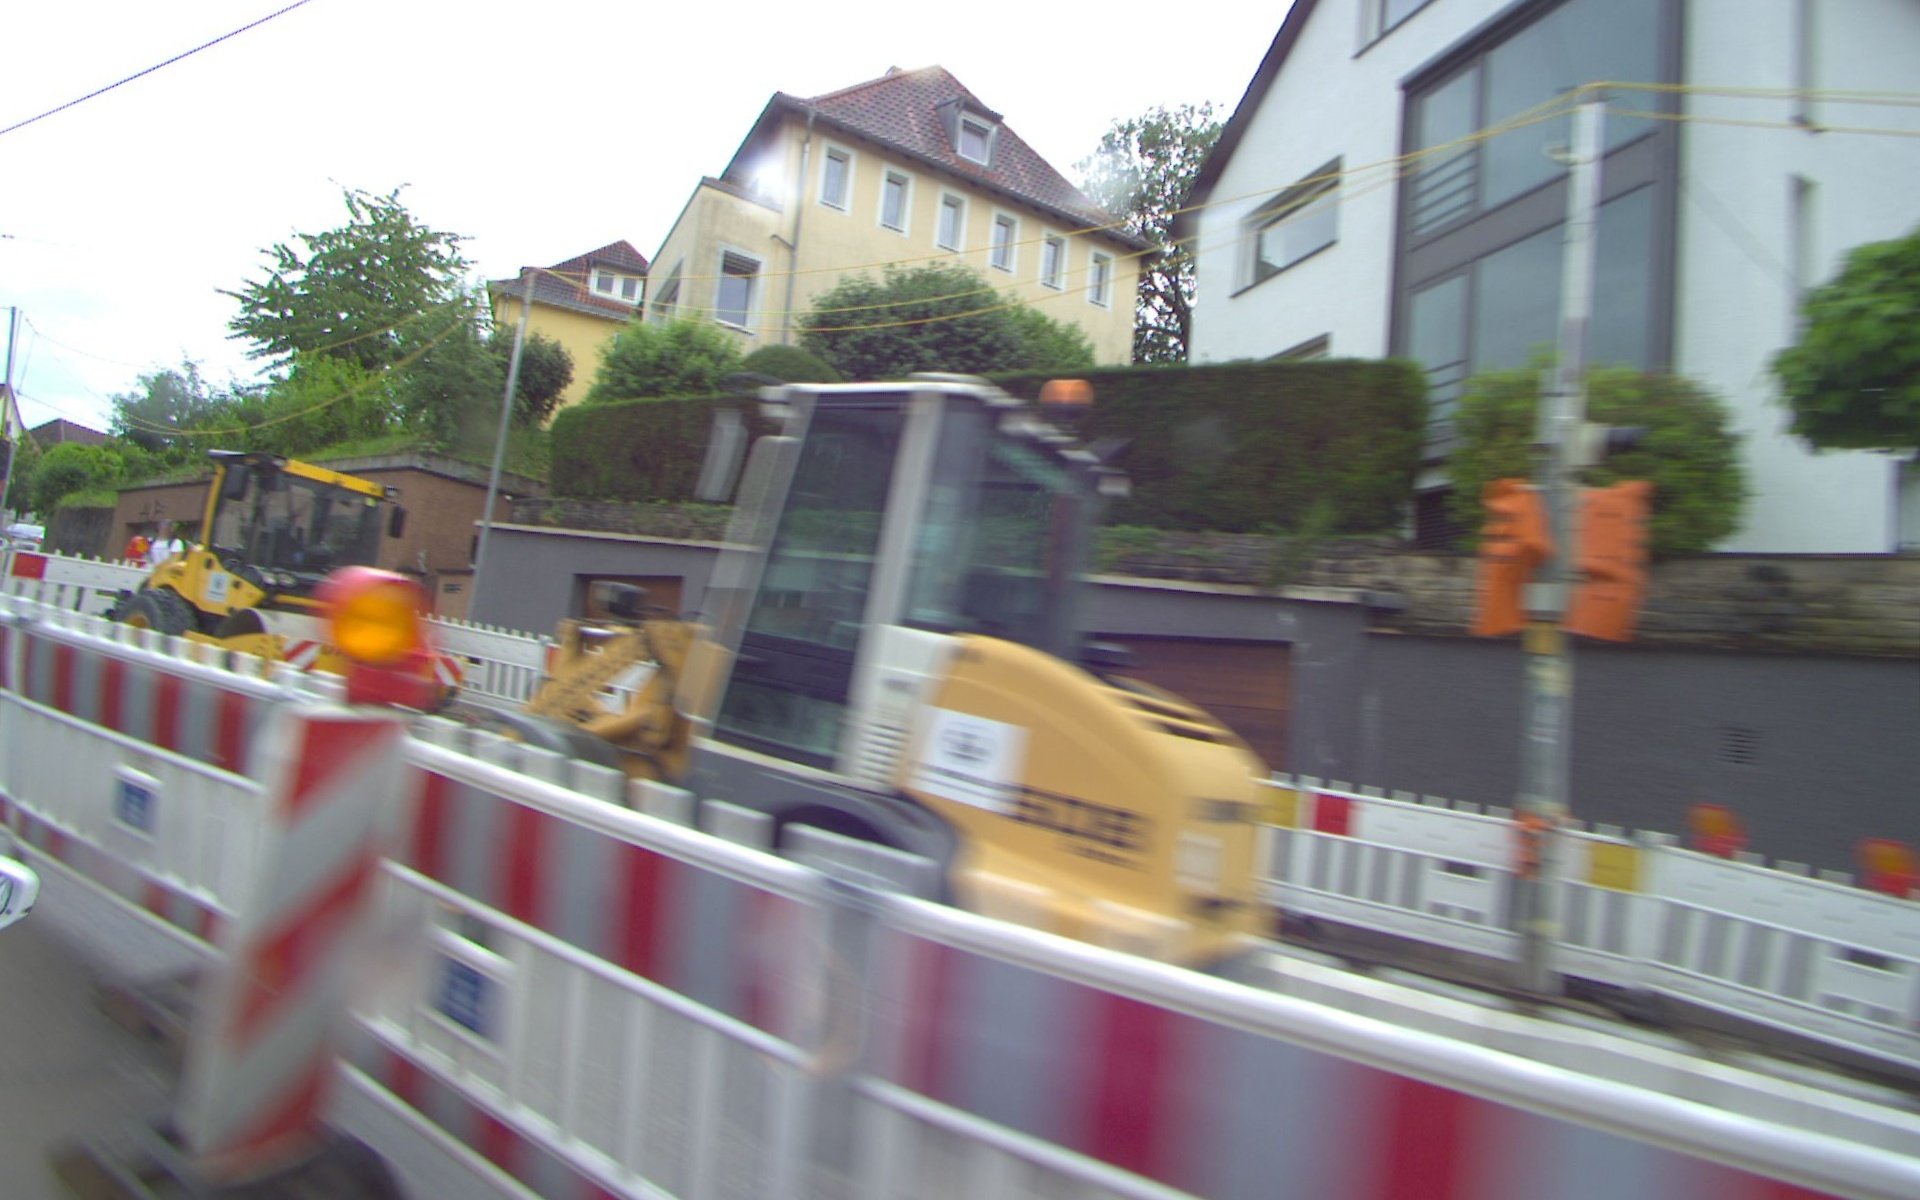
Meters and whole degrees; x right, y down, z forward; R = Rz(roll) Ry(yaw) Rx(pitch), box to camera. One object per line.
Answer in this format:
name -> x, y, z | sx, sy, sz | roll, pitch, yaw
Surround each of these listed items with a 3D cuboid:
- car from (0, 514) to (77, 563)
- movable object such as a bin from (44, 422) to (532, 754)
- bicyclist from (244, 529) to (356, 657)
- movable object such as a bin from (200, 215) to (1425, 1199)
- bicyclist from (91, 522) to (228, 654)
car -> -42.457, -2.797, 46.053 | 1.719, 1.788, 4.211 | 10, -3, -25
movable object such as a bin -> -7.586, -0.236, 11.153 | 5.583, 2.869, 2.092 | 7, -3, 32
bicyclist -> -10.061, -0.084, 15.391 | 1.064, 1.747, 0.928 | 9, -3, -24
movable object such as a bin -> -1.036, 0.414, 4.880 | 5.585, 2.868, 2.092 | 4, -4, 32
bicyclist -> -11.874, -0.159, 14.955 | 0.916, 1.747, 1.078 | 7, -3, 23
